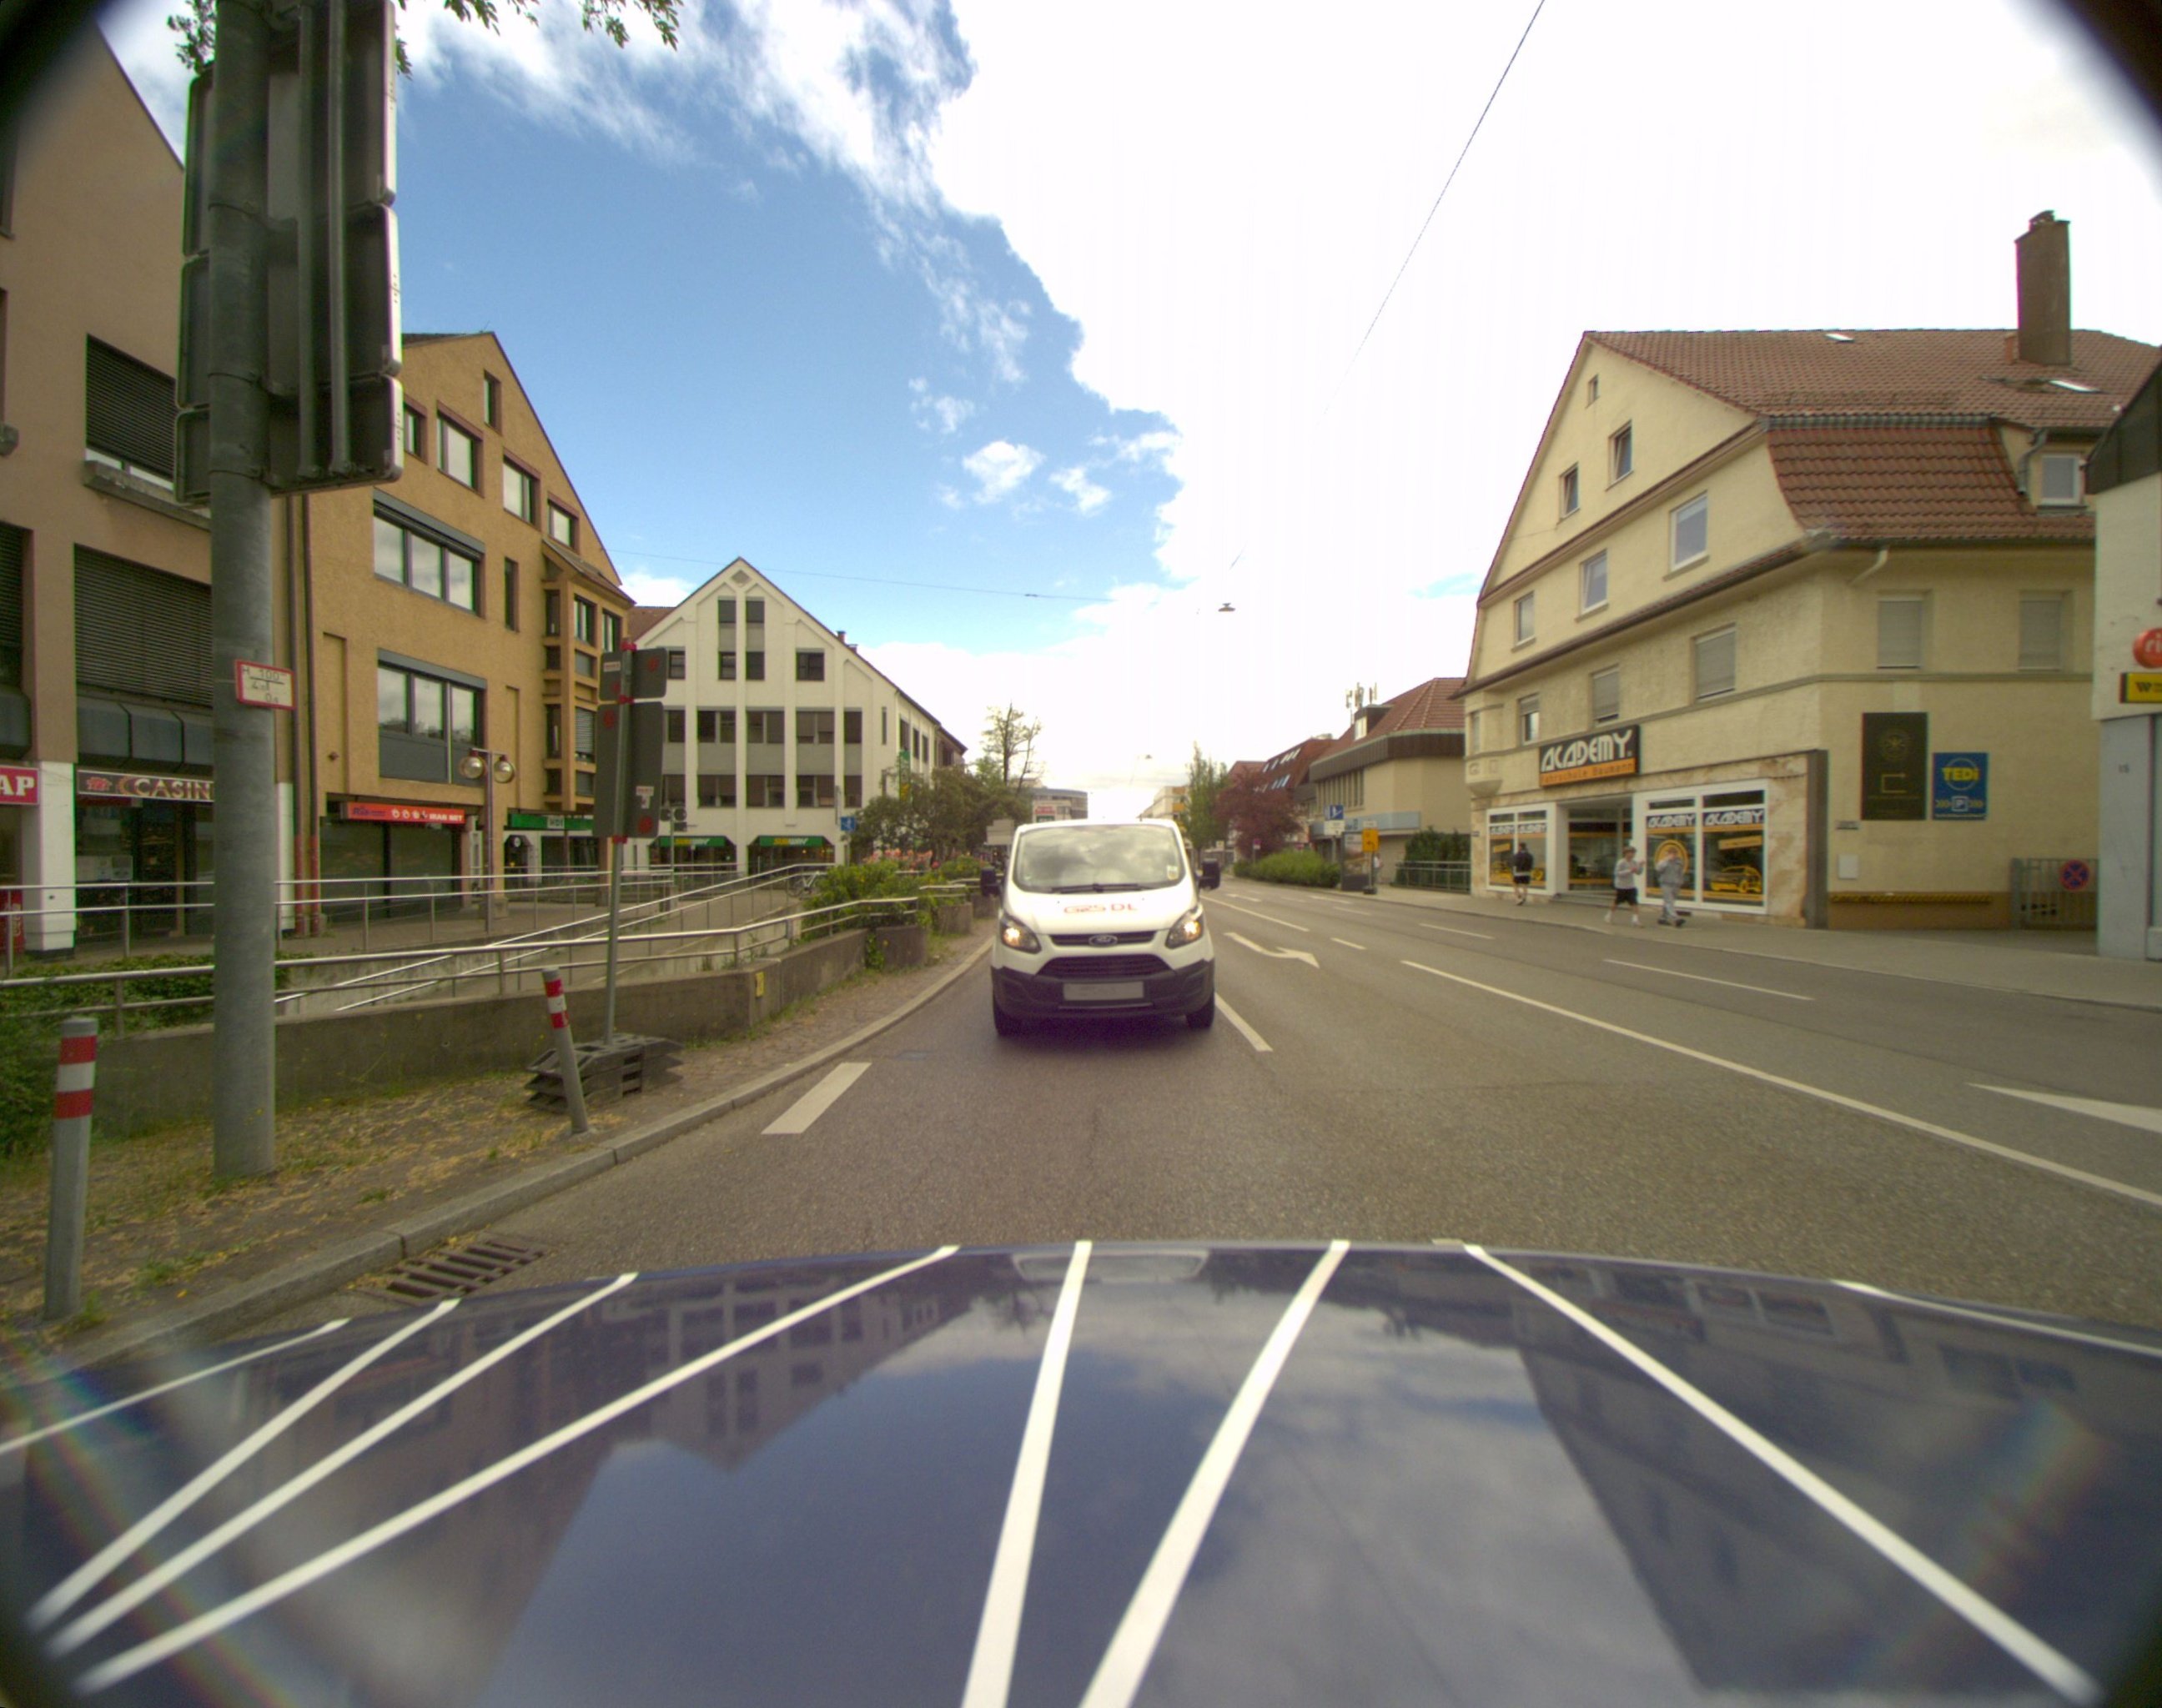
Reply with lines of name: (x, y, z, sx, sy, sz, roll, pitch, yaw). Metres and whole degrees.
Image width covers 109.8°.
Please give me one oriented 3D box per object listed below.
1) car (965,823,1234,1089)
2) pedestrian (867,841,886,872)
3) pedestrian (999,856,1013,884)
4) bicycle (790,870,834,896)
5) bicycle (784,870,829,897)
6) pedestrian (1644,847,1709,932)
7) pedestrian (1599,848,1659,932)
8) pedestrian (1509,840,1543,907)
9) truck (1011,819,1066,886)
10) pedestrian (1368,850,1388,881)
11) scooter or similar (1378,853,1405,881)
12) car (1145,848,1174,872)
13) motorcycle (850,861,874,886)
car: (0.152, 0.753, 8.203, 1.964, 1.948, 5.164, -1, 0, 0)
pedestrian: (-12.046, 0.146, 44.730, 0.871, 1.812, 0.785, -2, 1, -3)
pedestrian: (-4.132, 0.875, 41.819, 0.653, 1.568, 0.684, -1, 0, 1)
bicycle: (-10.579, 1.141, 29.889, 1.594, 0.963, 0.461, -1, 0, -14)
bicycle: (-10.551, 1.117, 29.243, 1.594, 0.996, 0.414, -1, 0, -13)
pedestrian: (12.228, 0.717, 15.619, 0.689, 1.660, 0.709, -3, 0, 1)
pedestrian: (11.360, 0.730, 15.768, 0.689, 1.680, 0.742, -2, 0, 1)
pedestrian: (12.801, 0.560, 21.854, 0.551, 1.878, 0.592, -2, 1, -3)
truck: (-2.310, -0.112, 44.315, 2.446, 3.464, 8.347, -2, 1, 1)
pedestrian: (16.918, 0.653, 43.255, 0.835, 1.748, 0.838, 0, 1, 1)
scooter or similar: (15.729, 0.645, 38.511, 1.193, 1.385, 0.539, -1, 1, -14)
car: (6.517, 0.508, 63.317, 1.957, 1.898, 4.321, 0, 0, 0)
motorcycle: (-9.867, 0.875, 34.318, 0.464, 1.062, 1.995, -1, 0, 1)
